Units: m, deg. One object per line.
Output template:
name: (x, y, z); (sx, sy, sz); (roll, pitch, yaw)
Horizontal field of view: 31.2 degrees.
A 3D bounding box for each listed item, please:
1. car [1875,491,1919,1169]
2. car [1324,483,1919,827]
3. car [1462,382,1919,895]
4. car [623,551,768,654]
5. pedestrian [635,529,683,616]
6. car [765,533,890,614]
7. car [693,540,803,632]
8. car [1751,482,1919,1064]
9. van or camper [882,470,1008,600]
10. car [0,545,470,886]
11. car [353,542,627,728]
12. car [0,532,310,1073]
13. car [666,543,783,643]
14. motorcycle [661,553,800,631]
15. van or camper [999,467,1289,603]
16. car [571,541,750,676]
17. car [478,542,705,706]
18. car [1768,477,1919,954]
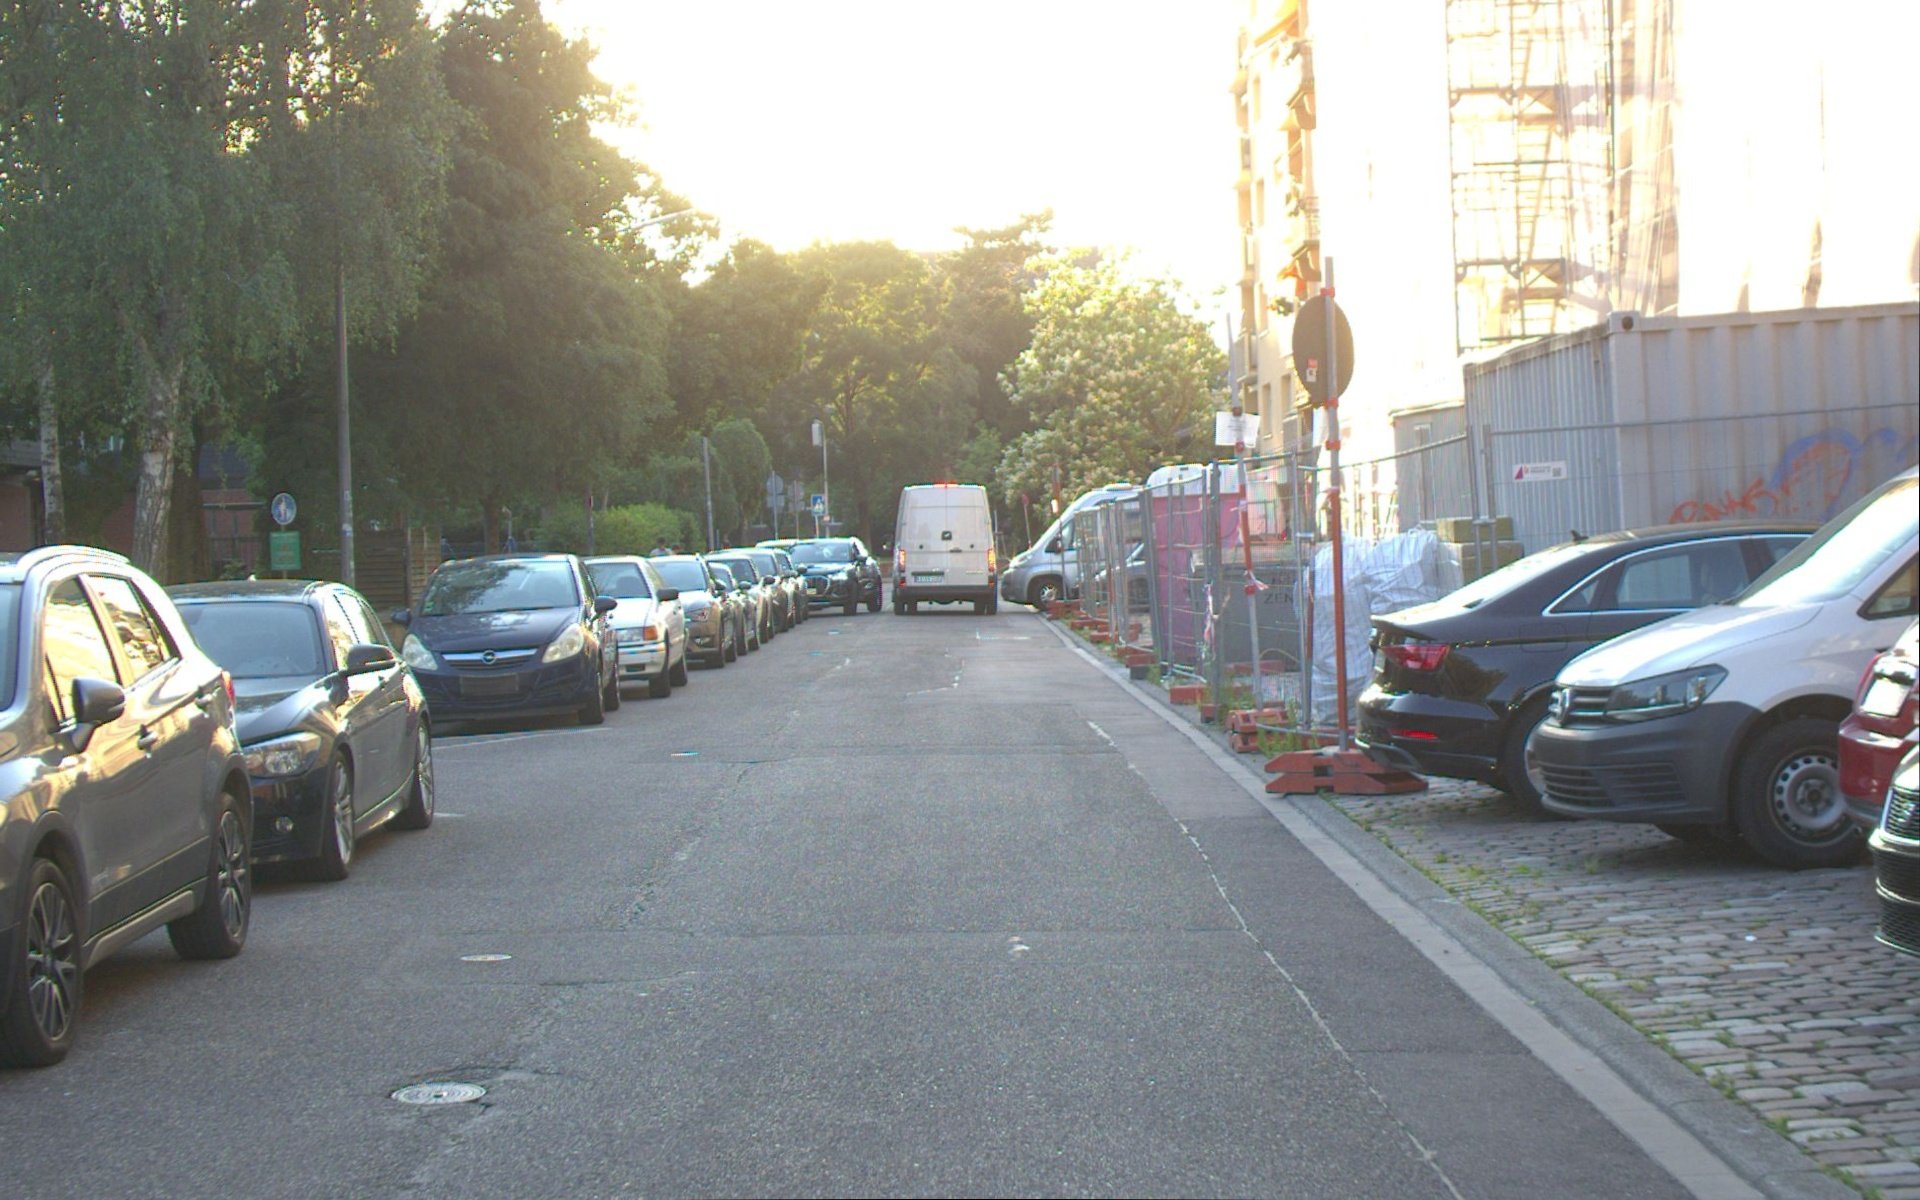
car: (4.320, 0.517, 7.660); (3.986, 1.632, 1.903); (-2, 1, -3)
car: (4.047, 0.232, 17.653); (4.153, 1.610, 1.872); (-1, 1, 2)
car: (4.562, 0.020, 14.942); (4.265, 1.973, 1.822); (-4, 2, -7)
car: (-3.725, 0.003, 49.042); (1.659, 1.309, 4.155); (-3, 1, 0)
pedestrian: (-6.342, -0.584, 72.429); (0.937, 1.824, 0.787); (0, 1, -1)
car: (-2.699, -0.571, 71.147); (1.805, 1.564, 4.564); (-2, 1, 7)
car: (-3.735, -0.278, 61.209); (1.715, 1.491, 4.361); (-3, 1, -1)
car: (4.517, 0.404, 9.963); (3.963, 1.566, 1.789); (-2, 1, -3)
van or camper: (-0.287, -1.332, 70.615); (2.453, 2.538, 6.083); (1, 1, 0)
car: (-3.775, 0.477, 17.186); (1.993, 1.448, 4.288); (-1, 1, 0)
car: (-3.975, 0.249, 29.653); (1.993, 1.448, 4.001); (-1, 1, -3)
car: (-3.687, 0.543, 11.702); (1.993, 1.514, 4.789); (-1, 1, 0)
car: (-3.720, -0.133, 54.738); (1.601, 1.426, 3.804); (-4, 1, -1)
motorcycle: (-3.866, -0.131, 58.018); (2.165, 1.299, 0.879); (0, 1, 14)
van or camper: (3.820, -1.363, 72.072); (5.928, 2.760, 2.110); (0, 1, -1)
car: (-3.751, 0.063, 43.755); (1.860, 1.532, 4.759); (-3, 1, -1)
car: (-3.699, 0.191, 35.224); (1.782, 1.440, 4.749); (-4, 1, -1)
car: (5.025, 0.325, 12.510); (3.691, 1.605, 1.745); (-1, 1, -2)
